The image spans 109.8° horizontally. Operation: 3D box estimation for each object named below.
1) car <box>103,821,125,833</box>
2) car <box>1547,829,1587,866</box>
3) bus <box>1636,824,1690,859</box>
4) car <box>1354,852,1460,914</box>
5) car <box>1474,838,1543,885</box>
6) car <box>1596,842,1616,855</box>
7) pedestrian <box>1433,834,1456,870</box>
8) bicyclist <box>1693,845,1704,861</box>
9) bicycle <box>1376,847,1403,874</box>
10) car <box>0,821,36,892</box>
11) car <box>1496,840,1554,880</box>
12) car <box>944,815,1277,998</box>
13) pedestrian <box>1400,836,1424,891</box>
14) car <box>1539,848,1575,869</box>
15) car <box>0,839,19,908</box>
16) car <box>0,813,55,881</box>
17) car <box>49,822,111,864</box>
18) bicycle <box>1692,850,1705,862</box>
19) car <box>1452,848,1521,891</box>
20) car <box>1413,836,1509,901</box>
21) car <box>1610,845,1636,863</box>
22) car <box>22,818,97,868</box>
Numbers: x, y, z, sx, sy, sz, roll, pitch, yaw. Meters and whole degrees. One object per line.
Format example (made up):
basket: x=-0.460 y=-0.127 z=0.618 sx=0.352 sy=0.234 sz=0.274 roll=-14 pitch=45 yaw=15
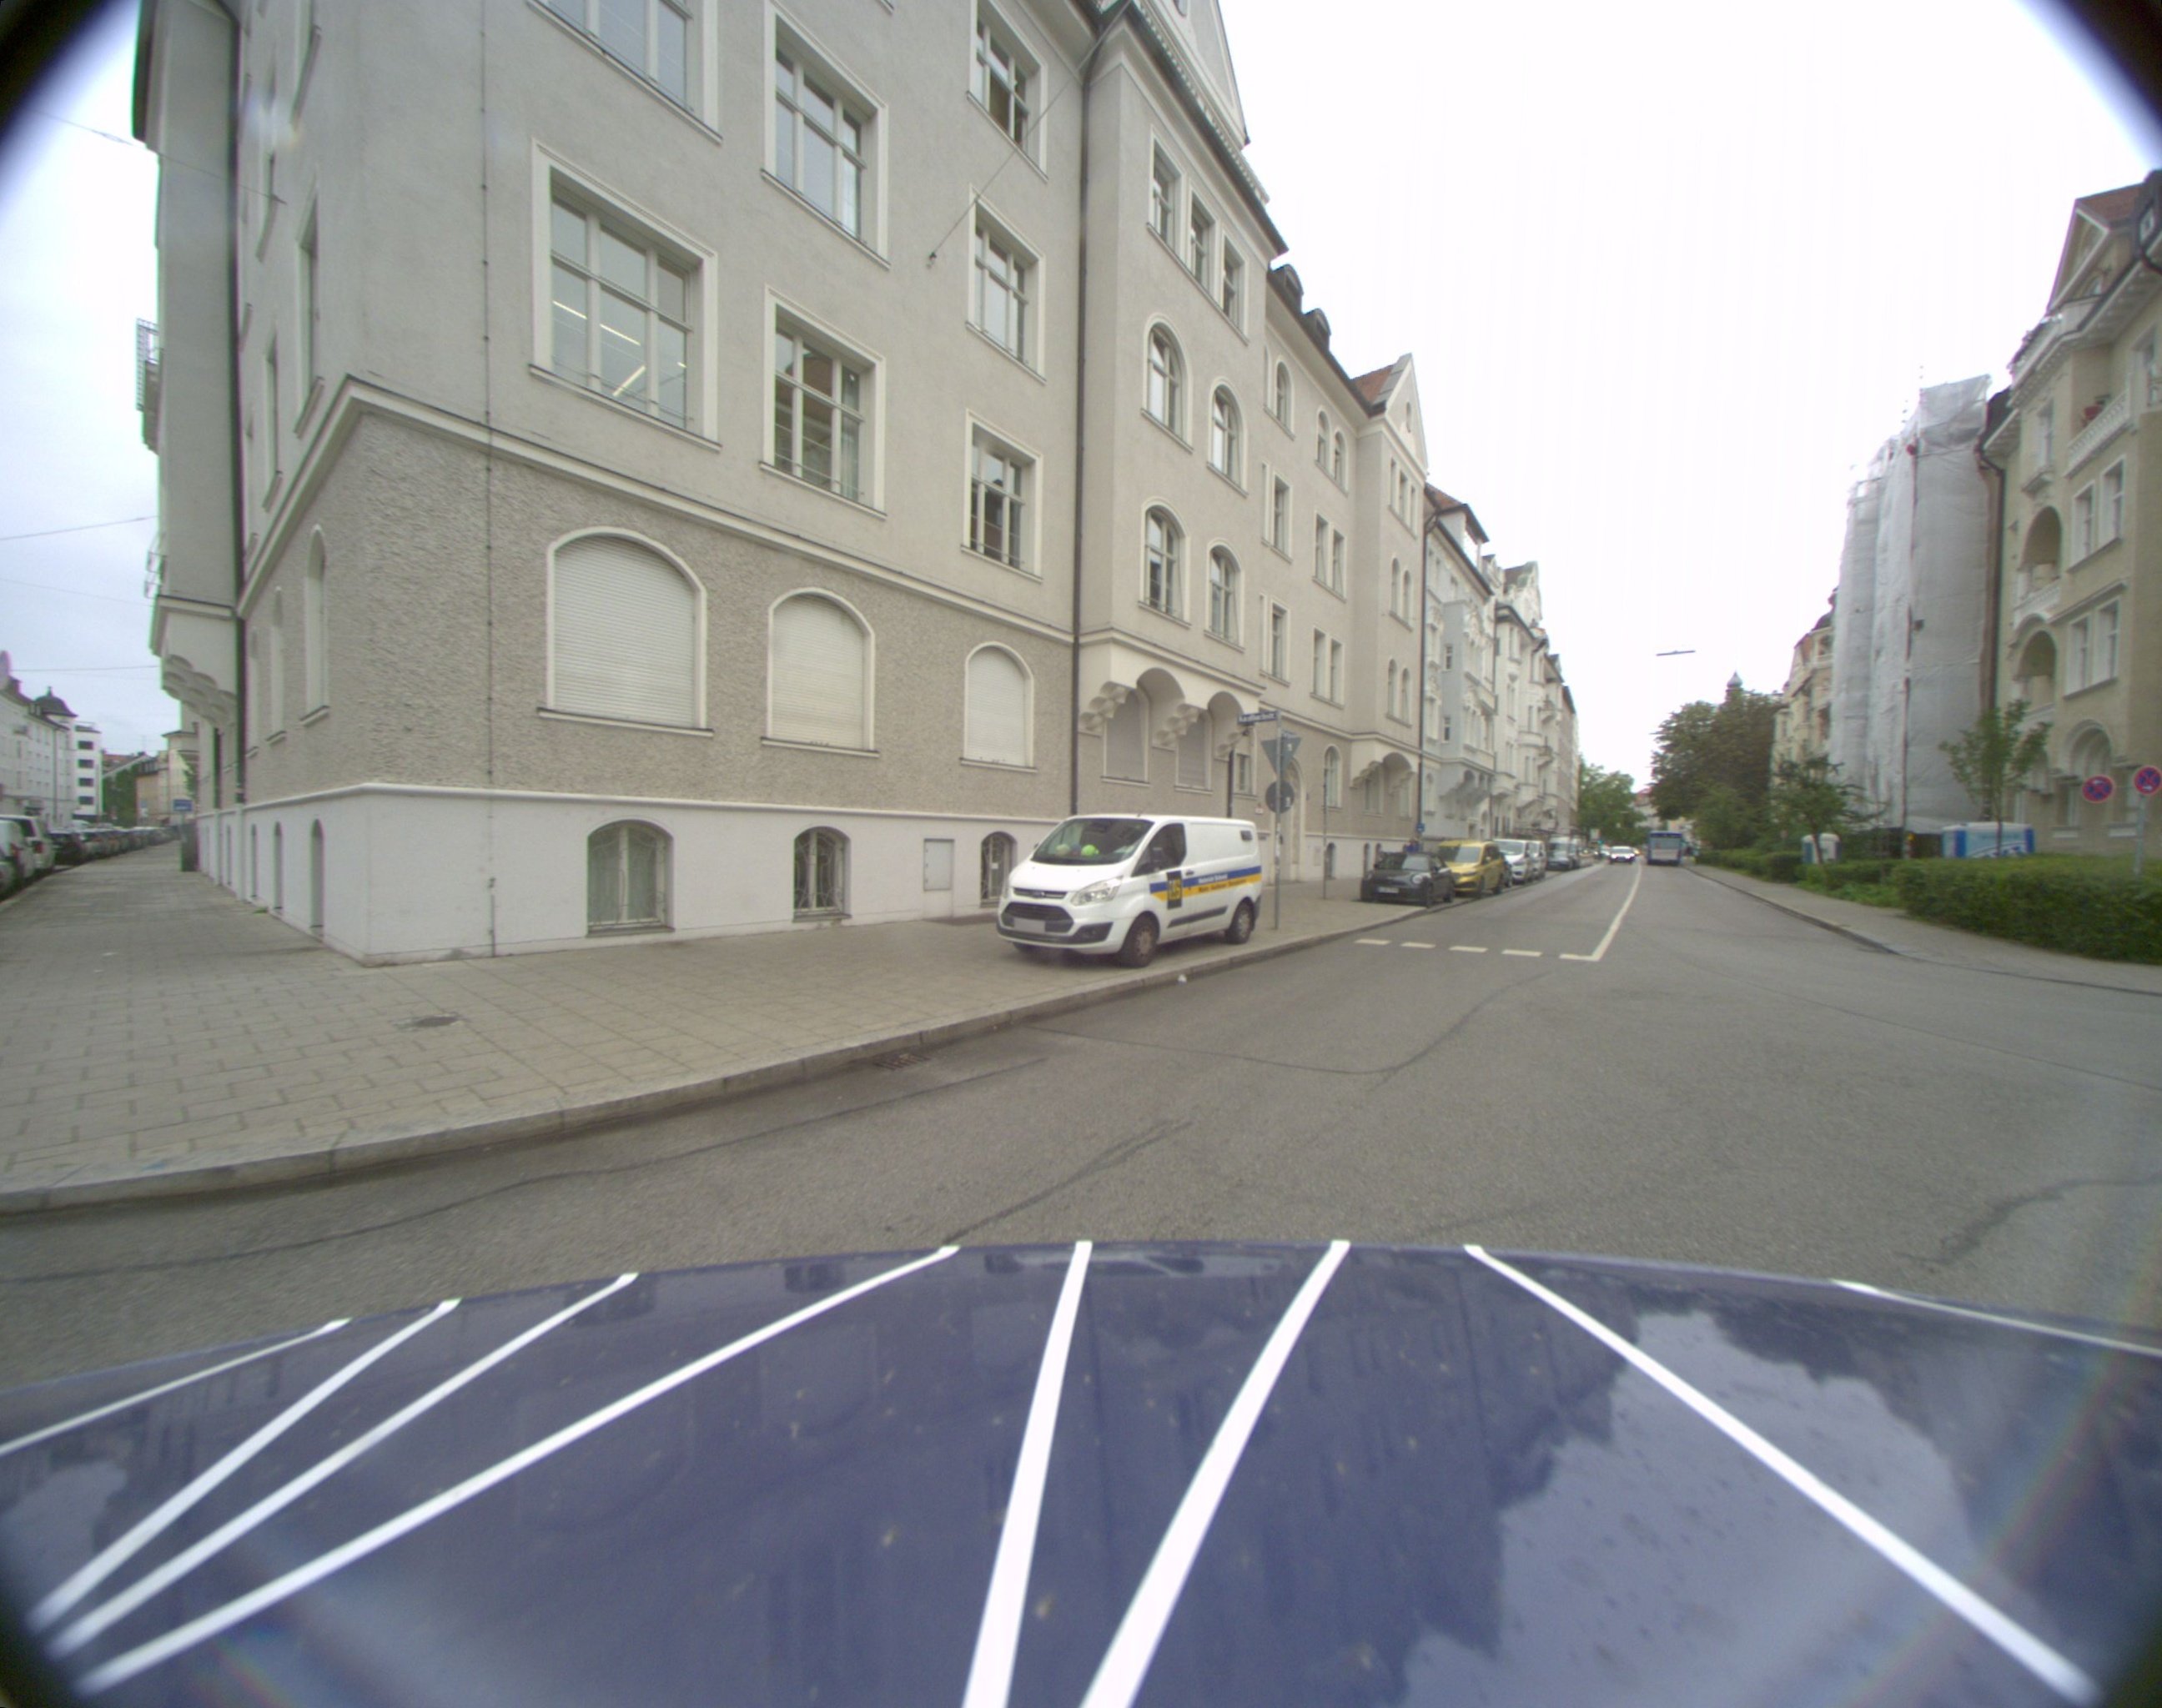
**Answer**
car: x=-131.697 y=-3.689 z=103.473 sx=3.599 sy=1.538 sz=1.800 roll=2 pitch=2 yaw=38
car: x=37.985 y=-0.512 z=59.318 sx=2.077 sy=2.674 sz=5.456 roll=4 pitch=3 yaw=37
bus: x=60.331 y=-1.360 z=79.156 sx=3.171 sy=3.194 sz=18.092 roll=4 pitch=3 yaw=34
car: x=9.003 y=0.722 z=20.828 sx=1.712 sy=1.437 sz=3.835 roll=2 pitch=2 yaw=38
car: x=19.125 y=0.271 z=33.900 sx=1.994 sy=1.907 sz=4.896 roll=2 pitch=2 yaw=37
car: x=69.955 y=-0.782 z=101.293 sx=1.720 sy=1.623 sz=4.008 roll=3 pitch=2 yaw=41
pedestrian: x=19.506 y=-0.114 z=40.765 sx=0.852 sy=1.892 sz=0.747 roll=3 pitch=3 yaw=40
bicyclist: x=58.229 y=-0.110 z=71.651 sx=0.768 sy=1.484 sz=1.062 roll=0 pitch=1 yaw=35
bicycle: x=13.790 y=0.284 z=33.941 sx=0.666 sy=1.127 sz=1.725 roll=3 pitch=2 yaw=38
car: x=-28.870 y=0.017 z=19.820 sx=3.828 sy=1.773 sz=1.801 roll=2 pitch=2 yaw=37
car: x=22.922 y=0.244 z=39.132 sx=1.994 sy=1.907 sz=4.888 roll=2 pitch=2 yaw=37
car: x=0.754 y=0.505 z=10.765 sx=1.938 sy=1.911 sz=5.385 roll=3 pitch=3 yaw=37
pedestrian: x=12.342 y=0.342 z=28.305 sx=0.583 sy=2.002 sz=0.729 roll=2 pitch=2 yaw=40
car: x=34.029 y=0.271 z=54.323 sx=1.788 sy=1.400 sz=4.253 roll=2 pitch=2 yaw=37
car: x=-25.066 y=0.396 z=16.690 sx=4.237 sy=1.396 sz=1.896 roll=2 pitch=2 yaw=37
car: x=-33.771 y=-0.256 z=23.833 sx=4.022 sy=2.024 sz=1.822 roll=2 pitch=2 yaw=37
car: x=-51.459 y=-0.609 z=39.061 sx=4.022 sy=2.024 sz=1.822 roll=2 pitch=2 yaw=37
bicycle: x=58.251 y=0.206 z=71.671 sx=0.768 sy=1.075 sz=2.054 roll=0 pitch=1 yaw=35
car: x=15.737 y=0.558 z=29.403 sx=1.634 sy=1.505 sz=3.893 roll=2 pitch=2 yaw=38
car: x=12.659 y=0.396 z=25.165 sx=1.994 sy=1.907 sz=4.580 roll=2 pitch=2 yaw=37
car: x=53.713 y=-0.058 z=75.395 sx=1.914 sy=1.648 sz=4.610 roll=2 pitch=2 yaw=34
car: x=-44.121 y=-0.516 z=32.853 sx=4.022 sy=2.024 sz=1.822 roll=2 pitch=2 yaw=37
